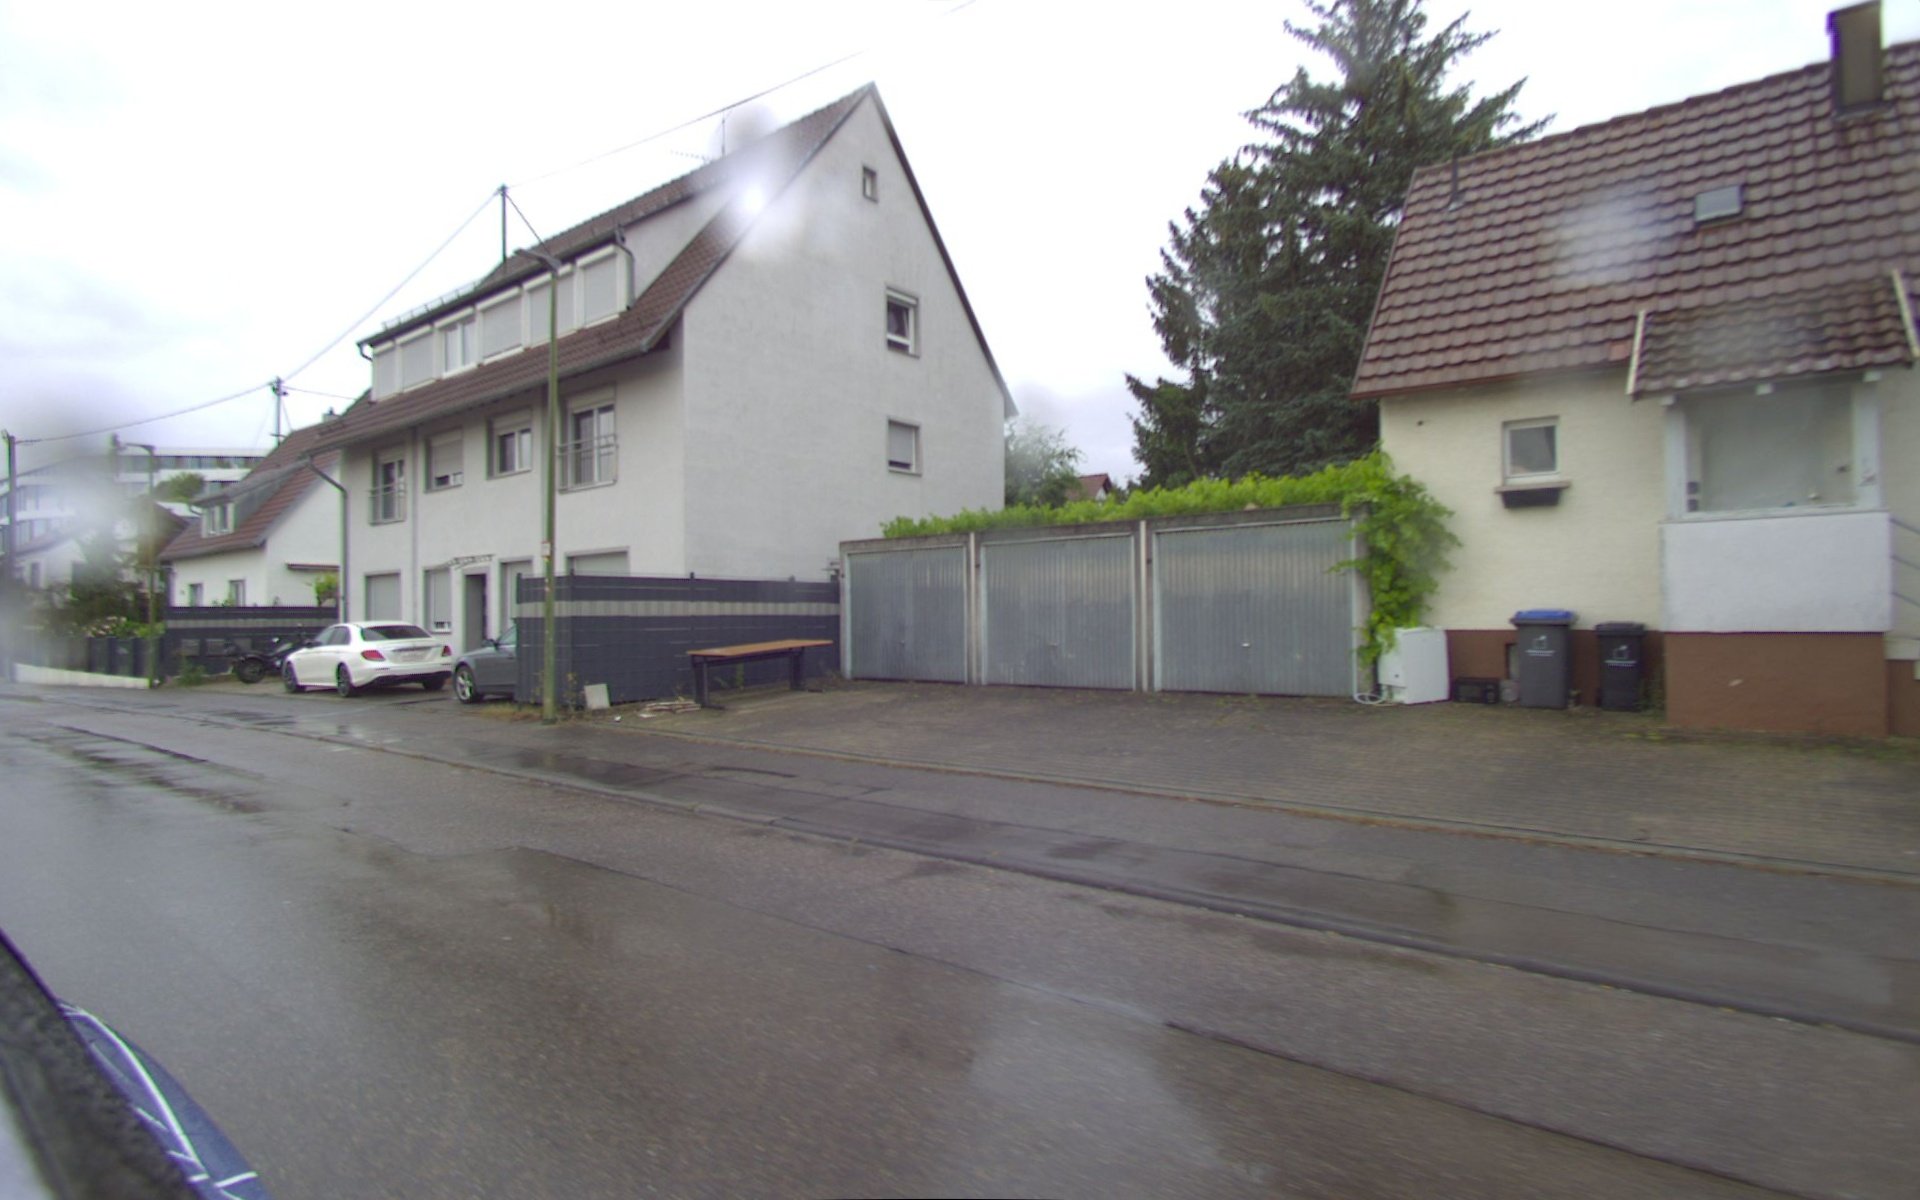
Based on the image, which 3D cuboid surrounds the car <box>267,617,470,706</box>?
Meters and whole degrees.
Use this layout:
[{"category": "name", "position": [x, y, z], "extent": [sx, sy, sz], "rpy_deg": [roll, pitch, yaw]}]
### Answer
[{"category": "car", "position": [-12.347, 1.239, 20.995], "extent": [4.890, 1.521, 1.974], "rpy_deg": [-3, 1, 39]}]

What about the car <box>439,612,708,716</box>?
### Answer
[{"category": "car", "position": [-6.354, 1.015, 16.440], "extent": [4.559, 1.378, 1.811], "rpy_deg": [-3, 1, 35]}]

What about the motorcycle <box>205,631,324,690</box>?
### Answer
[{"category": "motorcycle", "position": [-17.654, 1.508, 25.755], "extent": [0.735, 1.283, 2.339], "rpy_deg": [-3, 0, 39]}]
